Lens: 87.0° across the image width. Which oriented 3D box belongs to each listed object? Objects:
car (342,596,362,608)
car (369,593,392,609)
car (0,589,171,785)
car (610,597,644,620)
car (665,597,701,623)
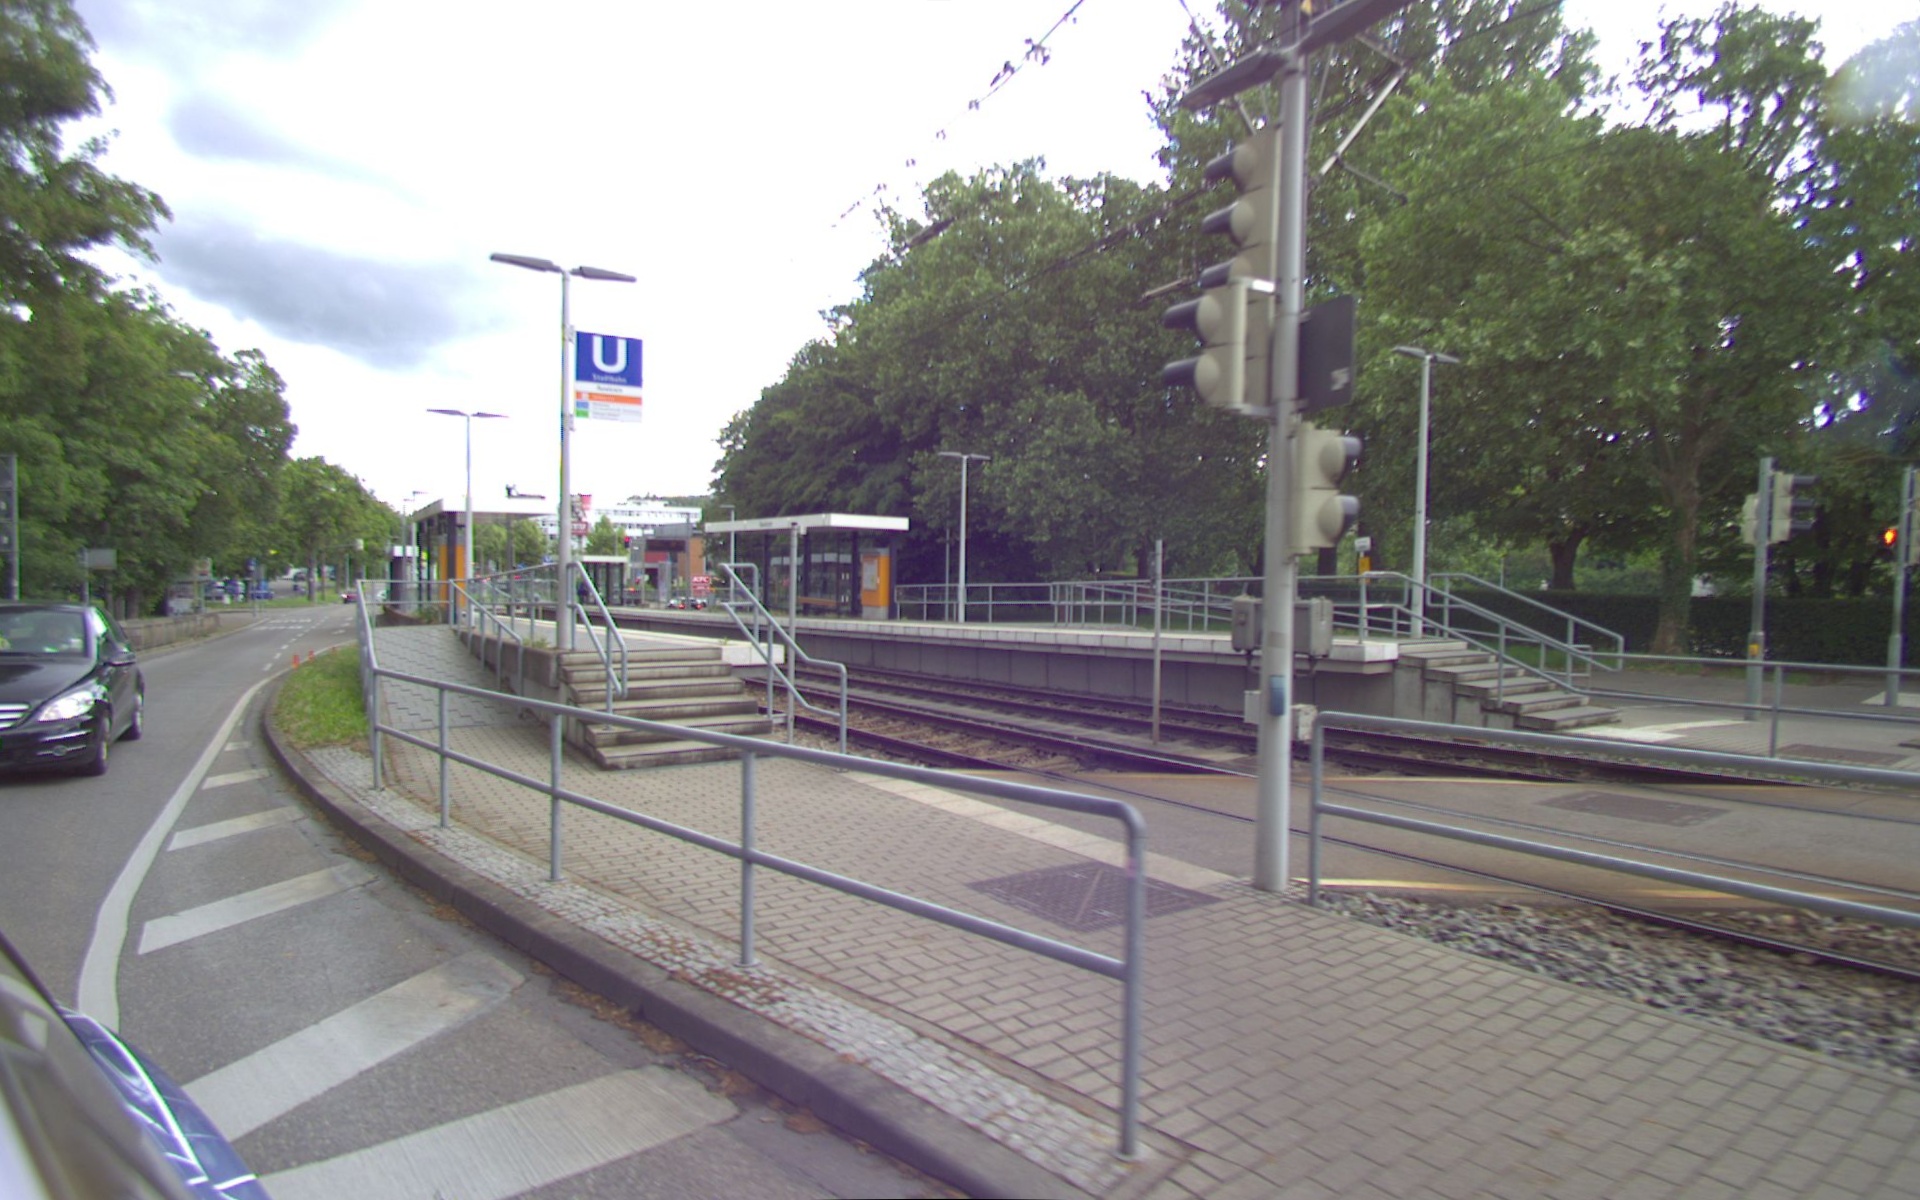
[{"bbox_3d":[-65.596,0.188,109.107,1.688,1.294,3.584,1,0,-33],"label":"car"},{"bbox_3d":[-56.029,0.094,97.778,1.675,1.489,3.718,1,0,-33],"label":"car"},{"bbox_3d":[-9.206,0.695,9.969,1.683,1.595,4.455,1,-1,-31],"label":"car"},{"bbox_3d":[-25.612,0.659,77.839,1.741,1.712,3.805,1,0,-30],"label":"car"},{"bbox_3d":[-20.836,0.736,76.031,1.712,1.853,3.811,1,0,-30],"label":"car"}]
